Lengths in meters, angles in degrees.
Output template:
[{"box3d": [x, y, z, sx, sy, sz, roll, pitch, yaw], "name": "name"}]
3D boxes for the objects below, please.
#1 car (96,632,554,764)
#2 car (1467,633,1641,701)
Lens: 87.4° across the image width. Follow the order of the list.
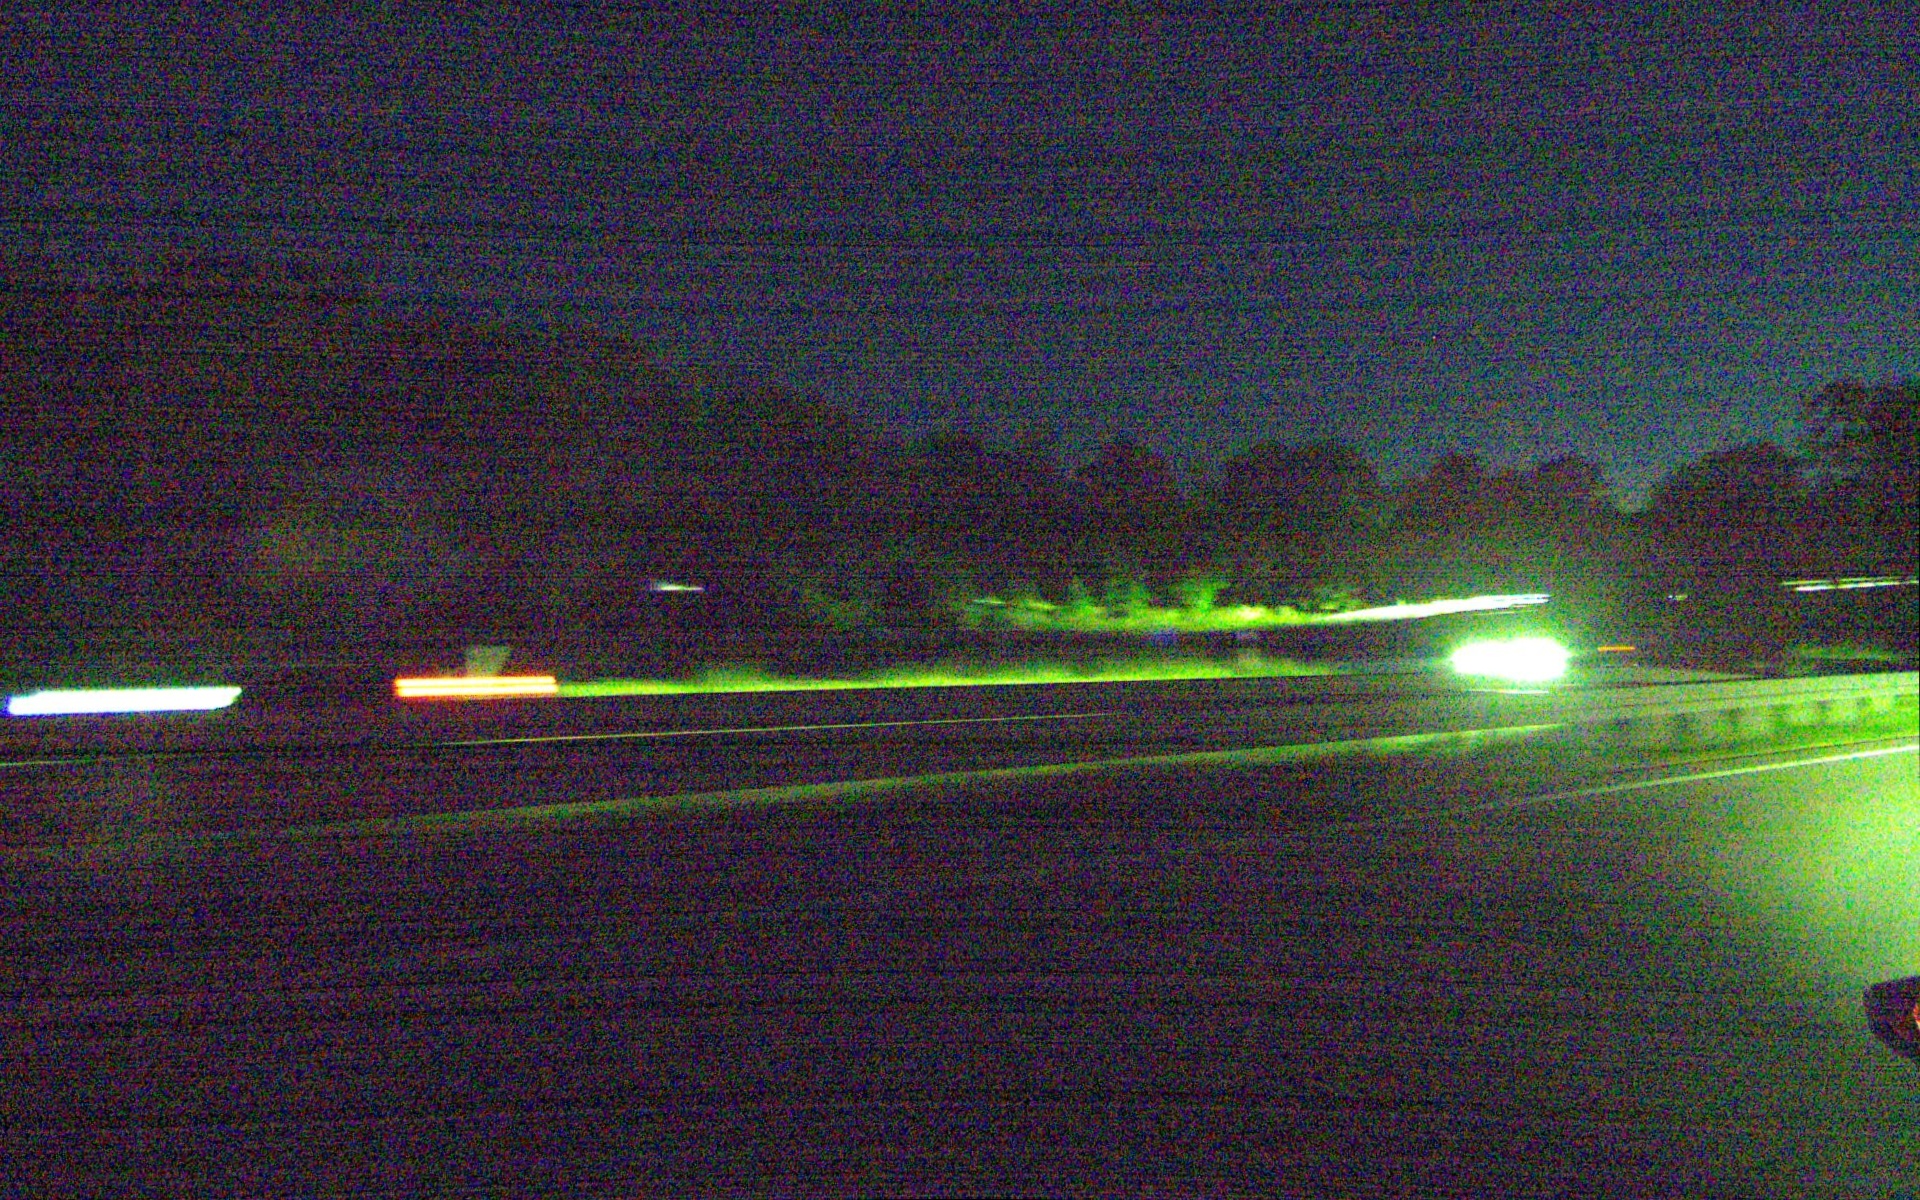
[{"box3d": [-7.205, 1.047, 11.923, 4.242, 1.288, 1.985, 1, -1, -29], "name": "car"}, {"box3d": [15.181, 1.649, 25.653, 4.242, 1.577, 1.985, 1, -1, -29], "name": "car"}]
